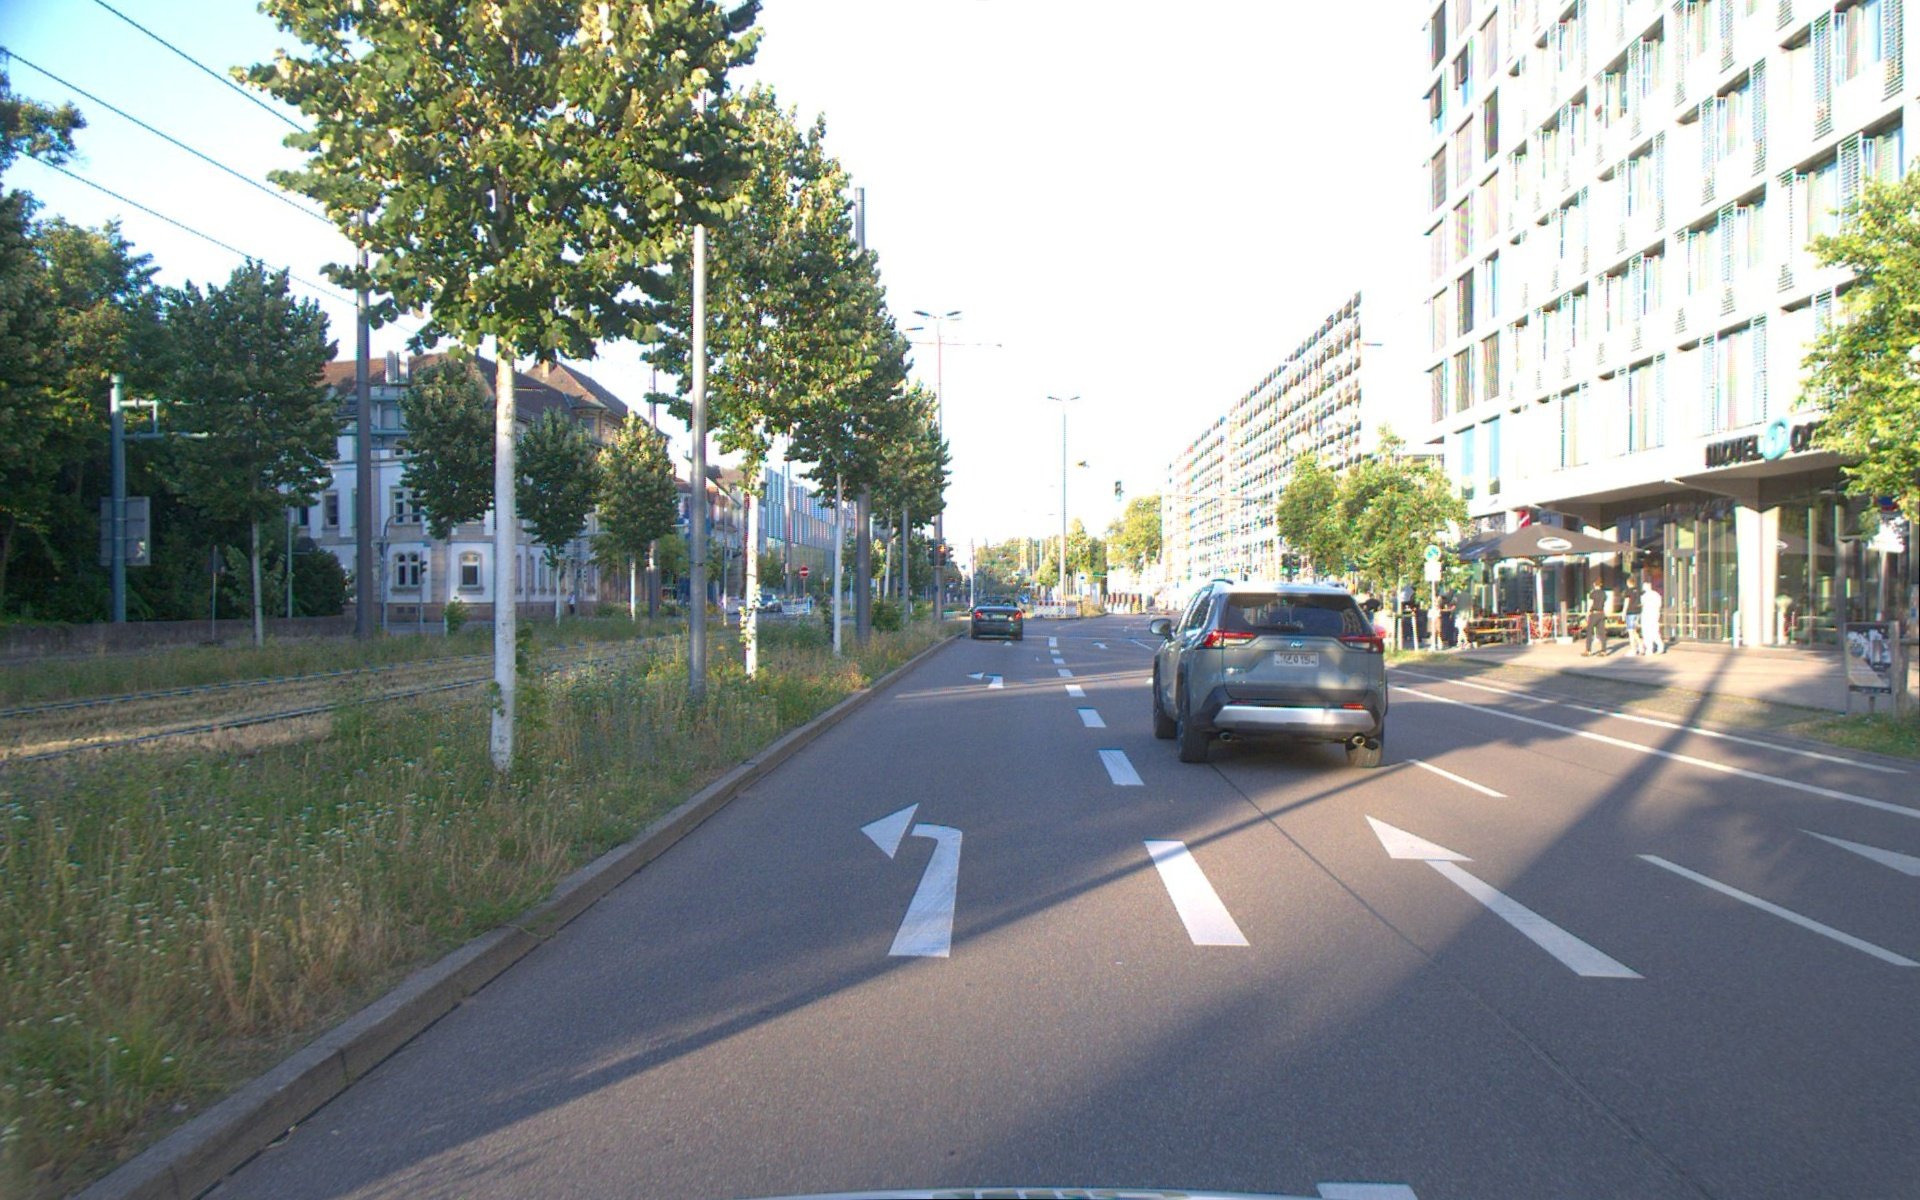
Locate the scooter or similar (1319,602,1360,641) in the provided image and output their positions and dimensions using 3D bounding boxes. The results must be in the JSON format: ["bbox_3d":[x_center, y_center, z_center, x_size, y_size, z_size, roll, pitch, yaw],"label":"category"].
[{"bbox_3d":[12.499,0.712,54.518,1.185,1.222,0.480,-2,0,-3],"label":"scooter or similar"}]

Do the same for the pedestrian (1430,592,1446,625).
[{"bbox_3d":[20.687,0.367,71.572,0.600,1.342,0.621,-3,0,20],"label":"pedestrian"}]

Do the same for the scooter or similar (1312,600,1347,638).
[{"bbox_3d":[12.819,0.659,57.401,1.030,1.245,0.598,-2,0,-2],"label":"scooter or similar"}]

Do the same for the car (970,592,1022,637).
[{"bbox_3d":[1.231,0.454,55.021,1.639,1.375,4.001,1,0,2],"label":"car"}]

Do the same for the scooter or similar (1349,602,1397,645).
[{"bbox_3d":[12.461,0.719,49.893,1.267,1.239,0.535,-3,-1,26],"label":"scooter or similar"}]

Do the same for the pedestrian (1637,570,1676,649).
[{"bbox_3d":[16.740,0.229,39.776,0.605,1.843,0.777,-3,-1,11],"label":"pedestrian"}]

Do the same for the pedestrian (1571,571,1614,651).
[{"bbox_3d":[15.268,0.268,39.939,0.728,1.881,0.941,-3,-1,11],"label":"pedestrian"}]

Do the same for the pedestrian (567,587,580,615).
[{"bbox_3d":[-24.889,0.057,106.522,0.691,1.745,0.809,2,0,-18],"label":"pedestrian"}]

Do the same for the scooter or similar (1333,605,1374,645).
[{"bbox_3d":[12.396,0.783,52.118,1.131,1.212,0.510,-2,-2,4],"label":"scooter or similar"}]

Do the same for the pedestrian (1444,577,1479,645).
[{"bbox_3d":[14.394,0.315,47.480,0.807,1.921,0.867,-2,-1,10],"label":"pedestrian"}]

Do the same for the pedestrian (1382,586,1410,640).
[{"bbox_3d":[14.532,0.419,55.170,0.671,1.765,0.761,-2,0,2],"label":"pedestrian"}]

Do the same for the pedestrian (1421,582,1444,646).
[{"bbox_3d":[13.680,0.395,47.875,0.564,1.817,0.829,-2,-1,16],"label":"pedestrian"}]

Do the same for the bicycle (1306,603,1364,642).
[{"bbox_3d":[12.479,0.740,55.053,1.758,1.214,0.567,-2,0,-3],"label":"bicycle"}]

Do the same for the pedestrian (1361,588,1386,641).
[{"bbox_3d":[13.746,0.479,55.000,0.640,1.732,0.689,-2,0,1],"label":"pedestrian"}]

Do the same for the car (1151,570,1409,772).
[{"bbox_3d":[2.984,0.591,16.291,1.796,1.701,4.283,1,0,1],"label":"car"}]

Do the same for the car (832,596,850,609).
[{"bbox_3d":[-14.706,0.281,204.667,1.623,1.456,3.896,2,0,4],"label":"car"}]

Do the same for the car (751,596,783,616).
[{"bbox_3d":[-16.450,0.472,141.041,1.952,1.608,4.126,-2,0,3],"label":"car"}]

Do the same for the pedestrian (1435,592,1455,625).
[{"bbox_3d":[20.596,0.355,70.291,0.730,1.342,0.715,-3,0,15],"label":"pedestrian"}]

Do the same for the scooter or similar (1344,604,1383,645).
[{"bbox_3d":[12.522,0.758,51.328,1.104,1.235,0.532,-3,-2,17],"label":"scooter or similar"}]

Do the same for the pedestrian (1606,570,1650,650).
[{"bbox_3d":[15.937,0.236,39.485,0.740,1.856,0.941,-2,0,11],"label":"pedestrian"}]

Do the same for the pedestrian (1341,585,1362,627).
[{"bbox_3d":[17.367,0.263,73.354,0.752,1.880,0.679,-1,0,2],"label":"pedestrian"}]

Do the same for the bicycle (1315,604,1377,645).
[{"bbox_3d":[12.431,0.788,53.300,1.808,1.202,0.608,-2,0,1],"label":"bicycle"}]
